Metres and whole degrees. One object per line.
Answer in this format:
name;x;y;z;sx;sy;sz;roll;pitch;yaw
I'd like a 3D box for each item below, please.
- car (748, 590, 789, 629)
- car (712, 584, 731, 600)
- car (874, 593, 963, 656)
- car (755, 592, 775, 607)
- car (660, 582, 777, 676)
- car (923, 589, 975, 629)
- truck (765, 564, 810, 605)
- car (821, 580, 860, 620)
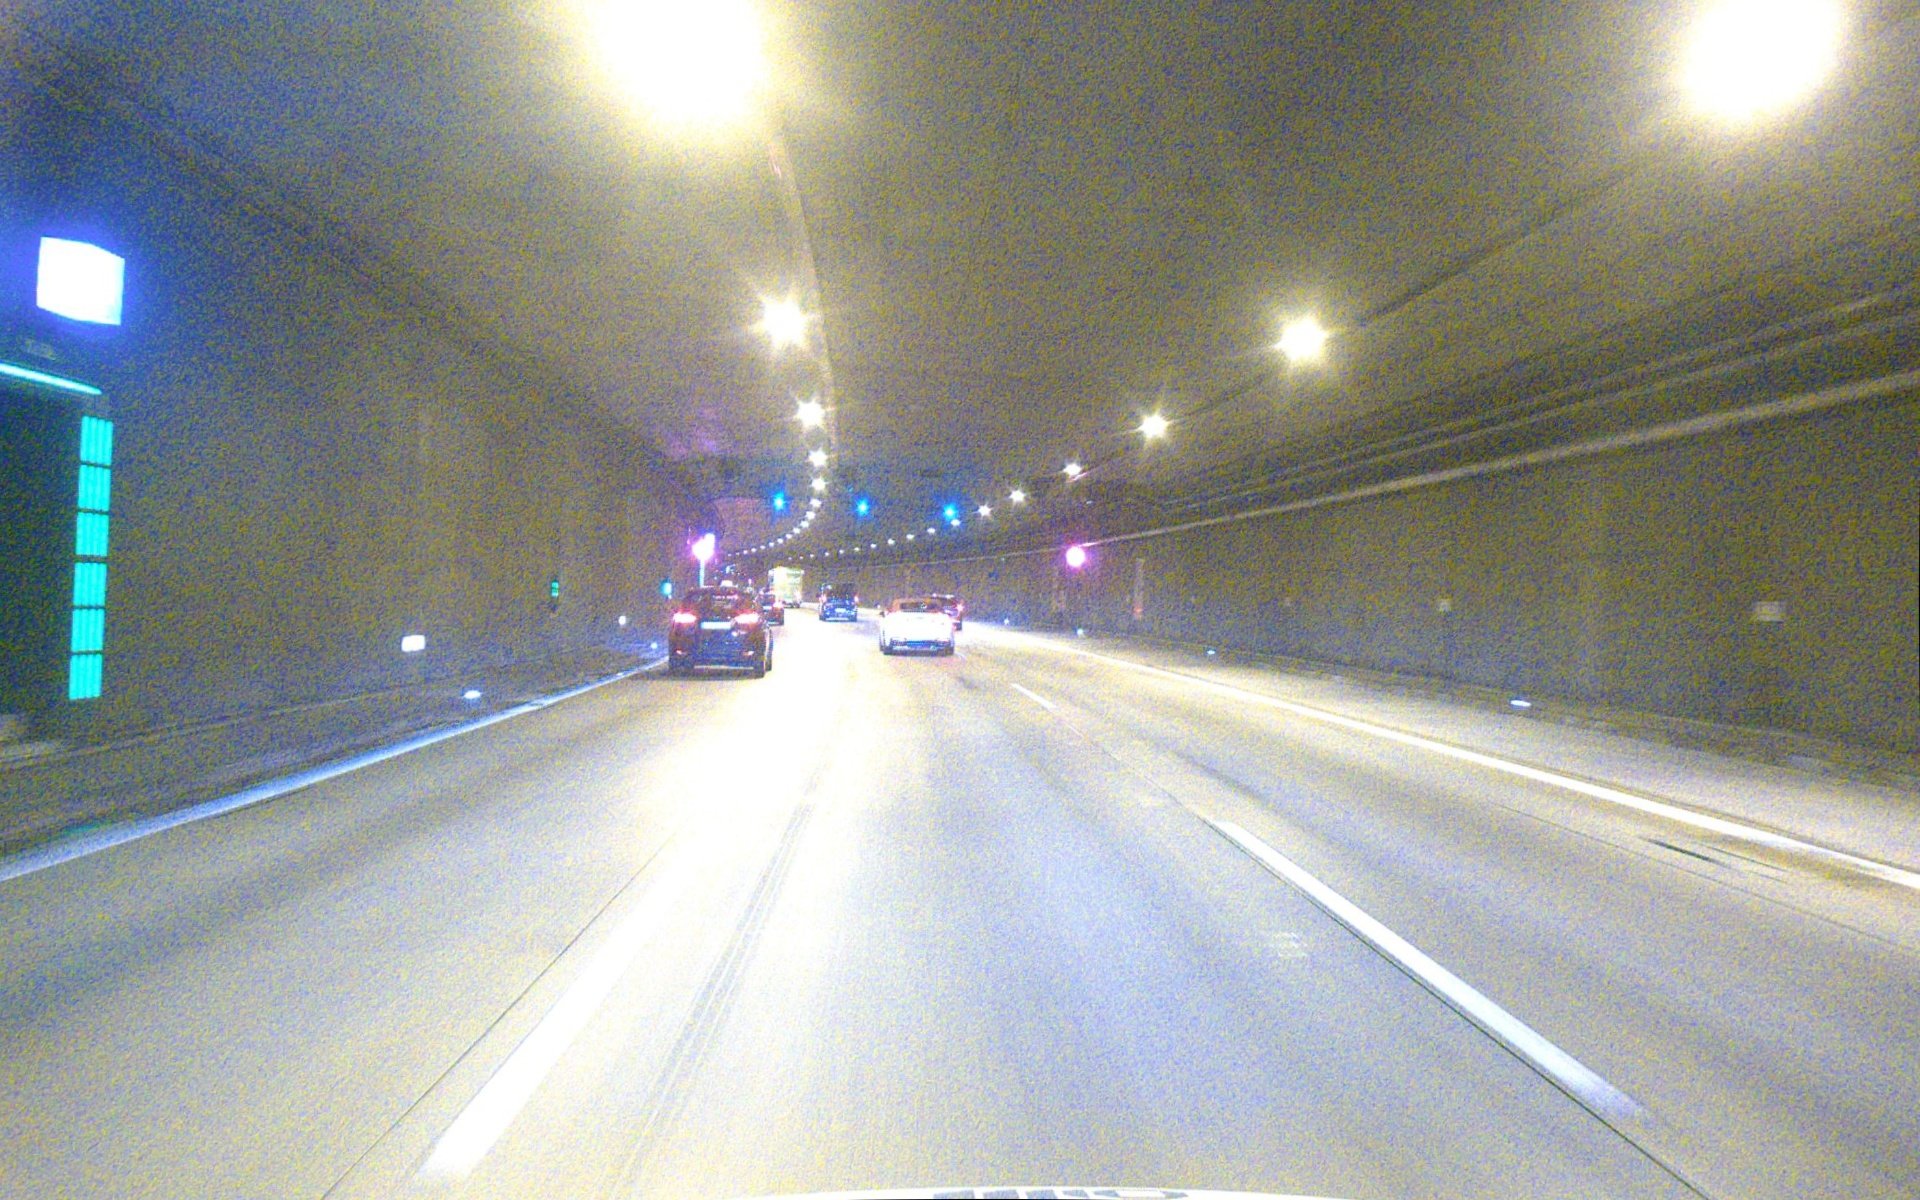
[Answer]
car;-8.809;0.440;75.892;1.767;1.713;3.993;1;0;-8
car;-25.060;-0.836;173.677;1.957;1.557;3.992;2;0;-9
car;-1.118;0.588;42.540;1.955;1.509;3.995;1;0;-6
car;-23.556;-0.038;199.844;1.959;1.785;3.987;2;0;-13
car;-4.425;0.506;30.820;1.749;1.626;3.799;1;0;-2
car;-0.485;0.372;70.125;1.804;1.630;3.995;1;0;-6
truck;-14.418;-1.357;137.506;3.026;3.167;10.008;2;1;-9
car;-6.271;-0.008;86.366;1.955;2.006;3.995;1;0;-5
